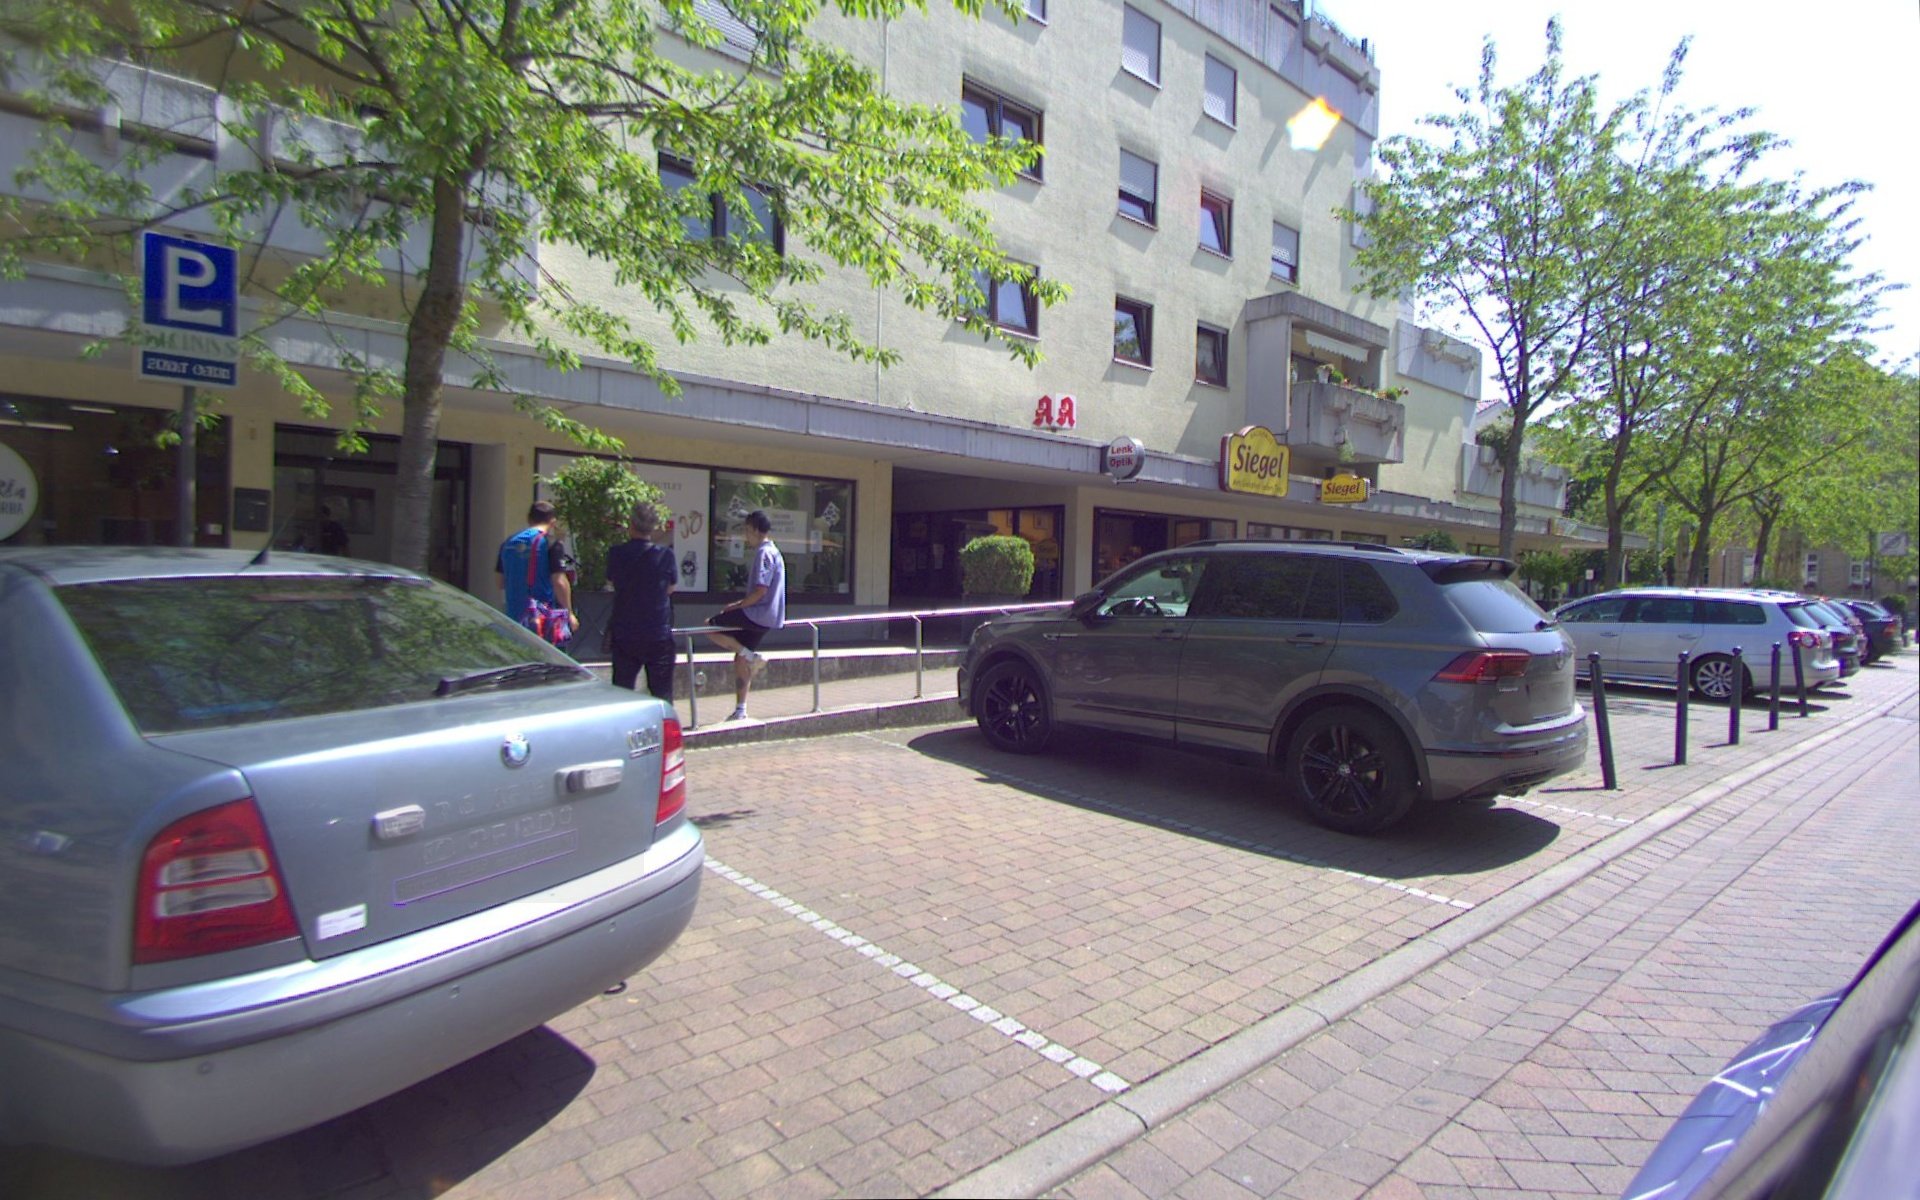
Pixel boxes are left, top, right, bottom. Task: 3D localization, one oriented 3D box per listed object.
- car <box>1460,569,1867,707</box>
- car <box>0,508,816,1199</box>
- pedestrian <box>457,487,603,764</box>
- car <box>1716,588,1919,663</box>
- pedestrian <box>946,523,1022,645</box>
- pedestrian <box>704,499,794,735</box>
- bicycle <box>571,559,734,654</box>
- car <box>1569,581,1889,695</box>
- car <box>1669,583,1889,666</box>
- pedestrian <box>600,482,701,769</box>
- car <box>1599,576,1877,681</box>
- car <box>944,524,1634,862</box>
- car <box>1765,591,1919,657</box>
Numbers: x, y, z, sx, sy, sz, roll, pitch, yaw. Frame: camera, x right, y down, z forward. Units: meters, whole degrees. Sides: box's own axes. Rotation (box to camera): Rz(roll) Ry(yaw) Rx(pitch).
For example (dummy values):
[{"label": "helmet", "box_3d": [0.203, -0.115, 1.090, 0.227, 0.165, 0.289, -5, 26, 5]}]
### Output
[{"label": "car", "box_3d": [10.104, 0.421, 14.876, 1.775, 1.562, 4.585, 0, 3, -40]}, {"label": "car", "box_3d": [-2.803, 0.502, 3.424, 4.348, 1.481, 1.872, 2, 2, 29]}, {"label": "pedestrian", "box_3d": [-2.955, 0.154, 6.990, 0.624, 1.795, 0.681, 1, 1, 23]}, {"label": "car", "box_3d": [19.444, 0.513, 22.976, 1.435, 1.407, 3.400, 0, 3, -40]}, {"label": "pedestrian", "box_3d": [0.365, -0.256, 15.578, 0.853, 1.802, 0.760, 0, 2, -34]}, {"label": "pedestrian", "box_3d": [-1.628, 0.120, 7.886, 0.635, 1.752, 0.617, 0, 1, -7]}, {"label": "bicycle", "box_3d": [-3.758, 0.055, 12.468, 1.834, 1.095, 0.642, -1, 1, -42]}, {"label": "car", "box_3d": [12.166, 0.502, 16.211, 1.585, 1.448, 3.799, 0, 3, -40]}, {"label": "car", "box_3d": [17.438, 0.457, 21.646, 1.494, 1.481, 3.400, 0, 3, -40]}, {"label": "pedestrian", "box_3d": [-2.095, 0.157, 6.819, 0.593, 1.818, 0.629, 1, 1, -21]}, {"label": "car", "box_3d": [13.827, 0.424, 18.136, 1.604, 1.535, 3.651, 0, 3, -40]}, {"label": "car", "box_3d": [1.958, 0.337, 7.069, 1.727, 1.637, 4.250, 0, 3, -43]}, {"label": "car", "box_3d": [21.475, 0.544, 24.681, 1.246, 1.463, 2.701, 0, 1, -41]}]
